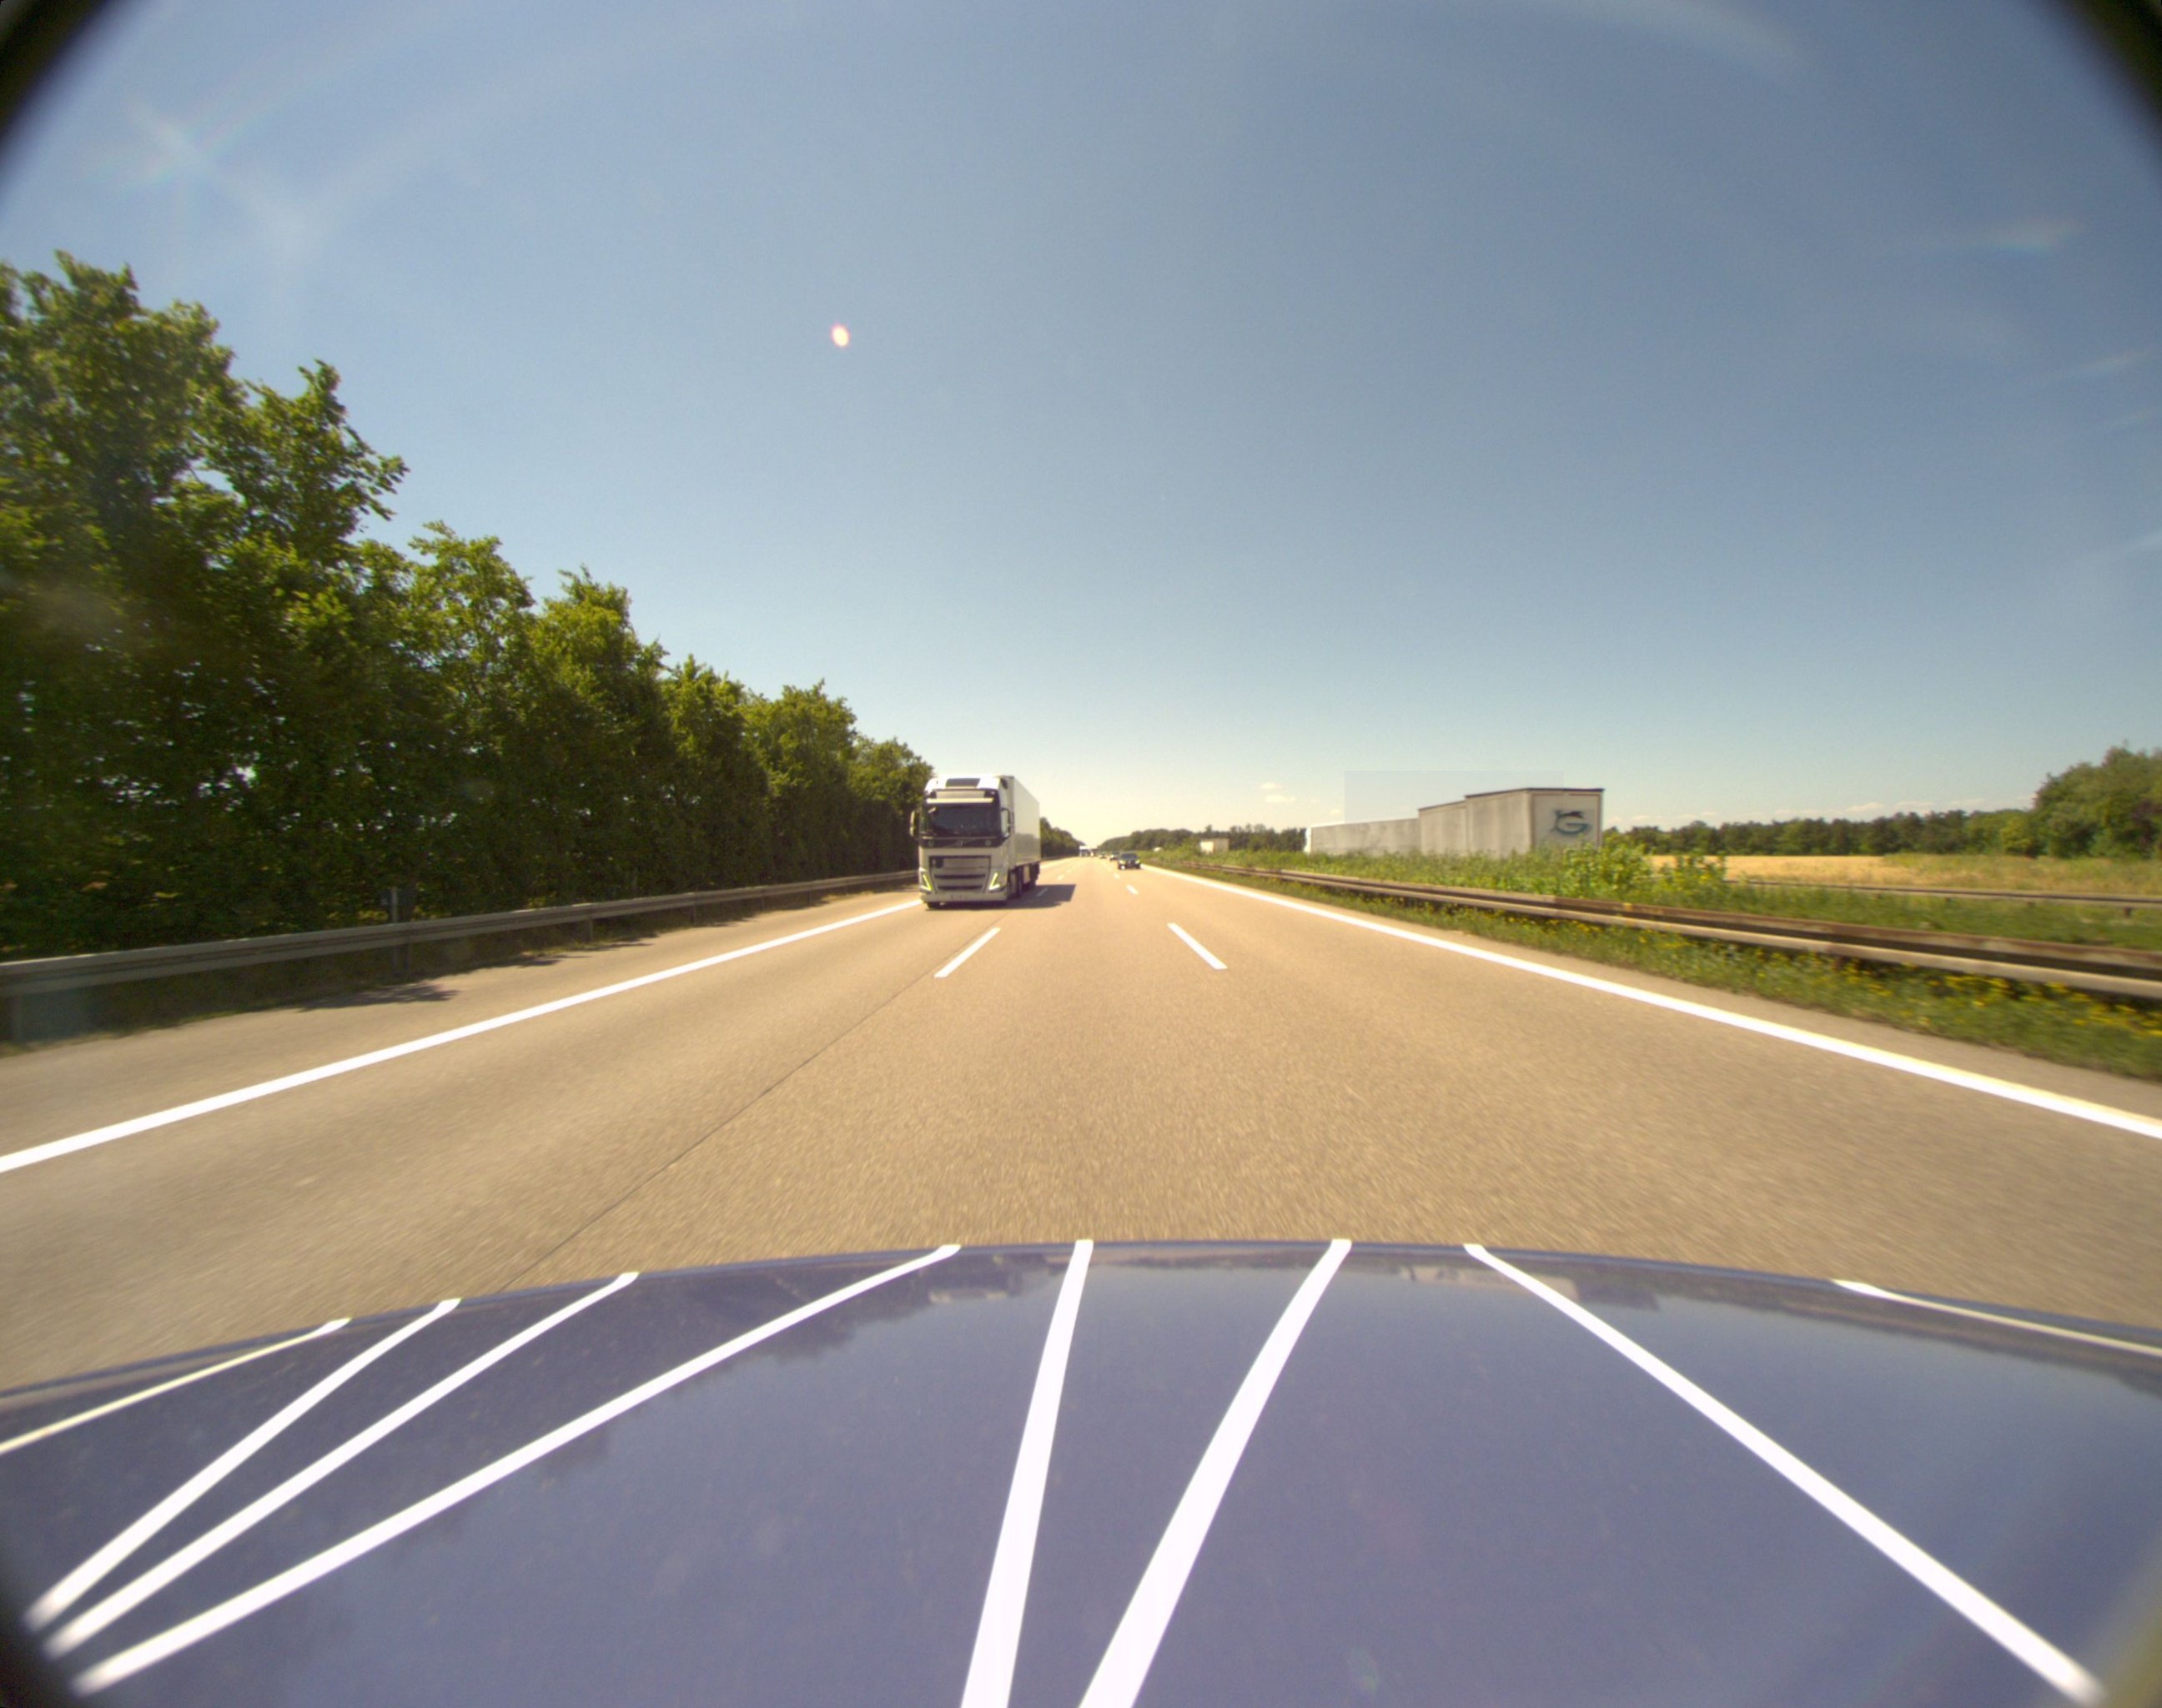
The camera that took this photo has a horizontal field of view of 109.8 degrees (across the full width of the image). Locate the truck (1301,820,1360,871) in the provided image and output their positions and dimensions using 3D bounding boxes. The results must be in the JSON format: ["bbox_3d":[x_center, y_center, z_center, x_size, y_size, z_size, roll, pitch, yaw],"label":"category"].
[{"bbox_3d":[21.438,-0.719,65.737,2.959,4.039,6.538,-2,1,1],"label":"truck"}]

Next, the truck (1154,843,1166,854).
[{"bbox_3d":[25.270,-1.744,243.489,2.575,3.106,13.120,-2,1,1],"label":"truck"}]

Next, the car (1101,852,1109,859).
[{"bbox_3d":[5.509,0.398,175.978,1.811,1.417,4.000,-2,1,1],"label":"car"}]

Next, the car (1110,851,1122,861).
[{"bbox_3d":[5.566,0.335,122.019,1.811,1.417,4.000,-2,1,1],"label":"car"}]

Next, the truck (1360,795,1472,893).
[{"bbox_3d":[17.036,-0.513,39.144,2.828,4.500,6.538,-2,1,1],"label":"truck"}]

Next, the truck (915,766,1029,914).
[{"bbox_3d":[-3.267,-0.427,24.447,2.476,4.039,6.319,-2,1,1],"label":"truck"}]

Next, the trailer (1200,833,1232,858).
[{"bbox_3d":[22.738,-1.427,128.935,3.066,4.035,13.955,-2,1,1],"label":"trailer"}]

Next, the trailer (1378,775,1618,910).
[{"bbox_3d":[16.928,-0.447,32.825,2.828,4.500,13.865,-2,1,1],"label":"trailer"}]

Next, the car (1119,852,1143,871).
[{"bbox_3d":[4.248,0.597,65.453,1.811,1.459,4.000,-2,1,1],"label":"car"}]

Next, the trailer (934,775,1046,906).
[{"bbox_3d":[-3.172,-0.492,30.761,2.476,4.039,13.879,-2,1,1],"label":"trailer"}]

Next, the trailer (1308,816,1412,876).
[{"bbox_3d":[21.329,-0.641,59.371,2.962,4.035,14.324,-2,1,1],"label":"trailer"}]
